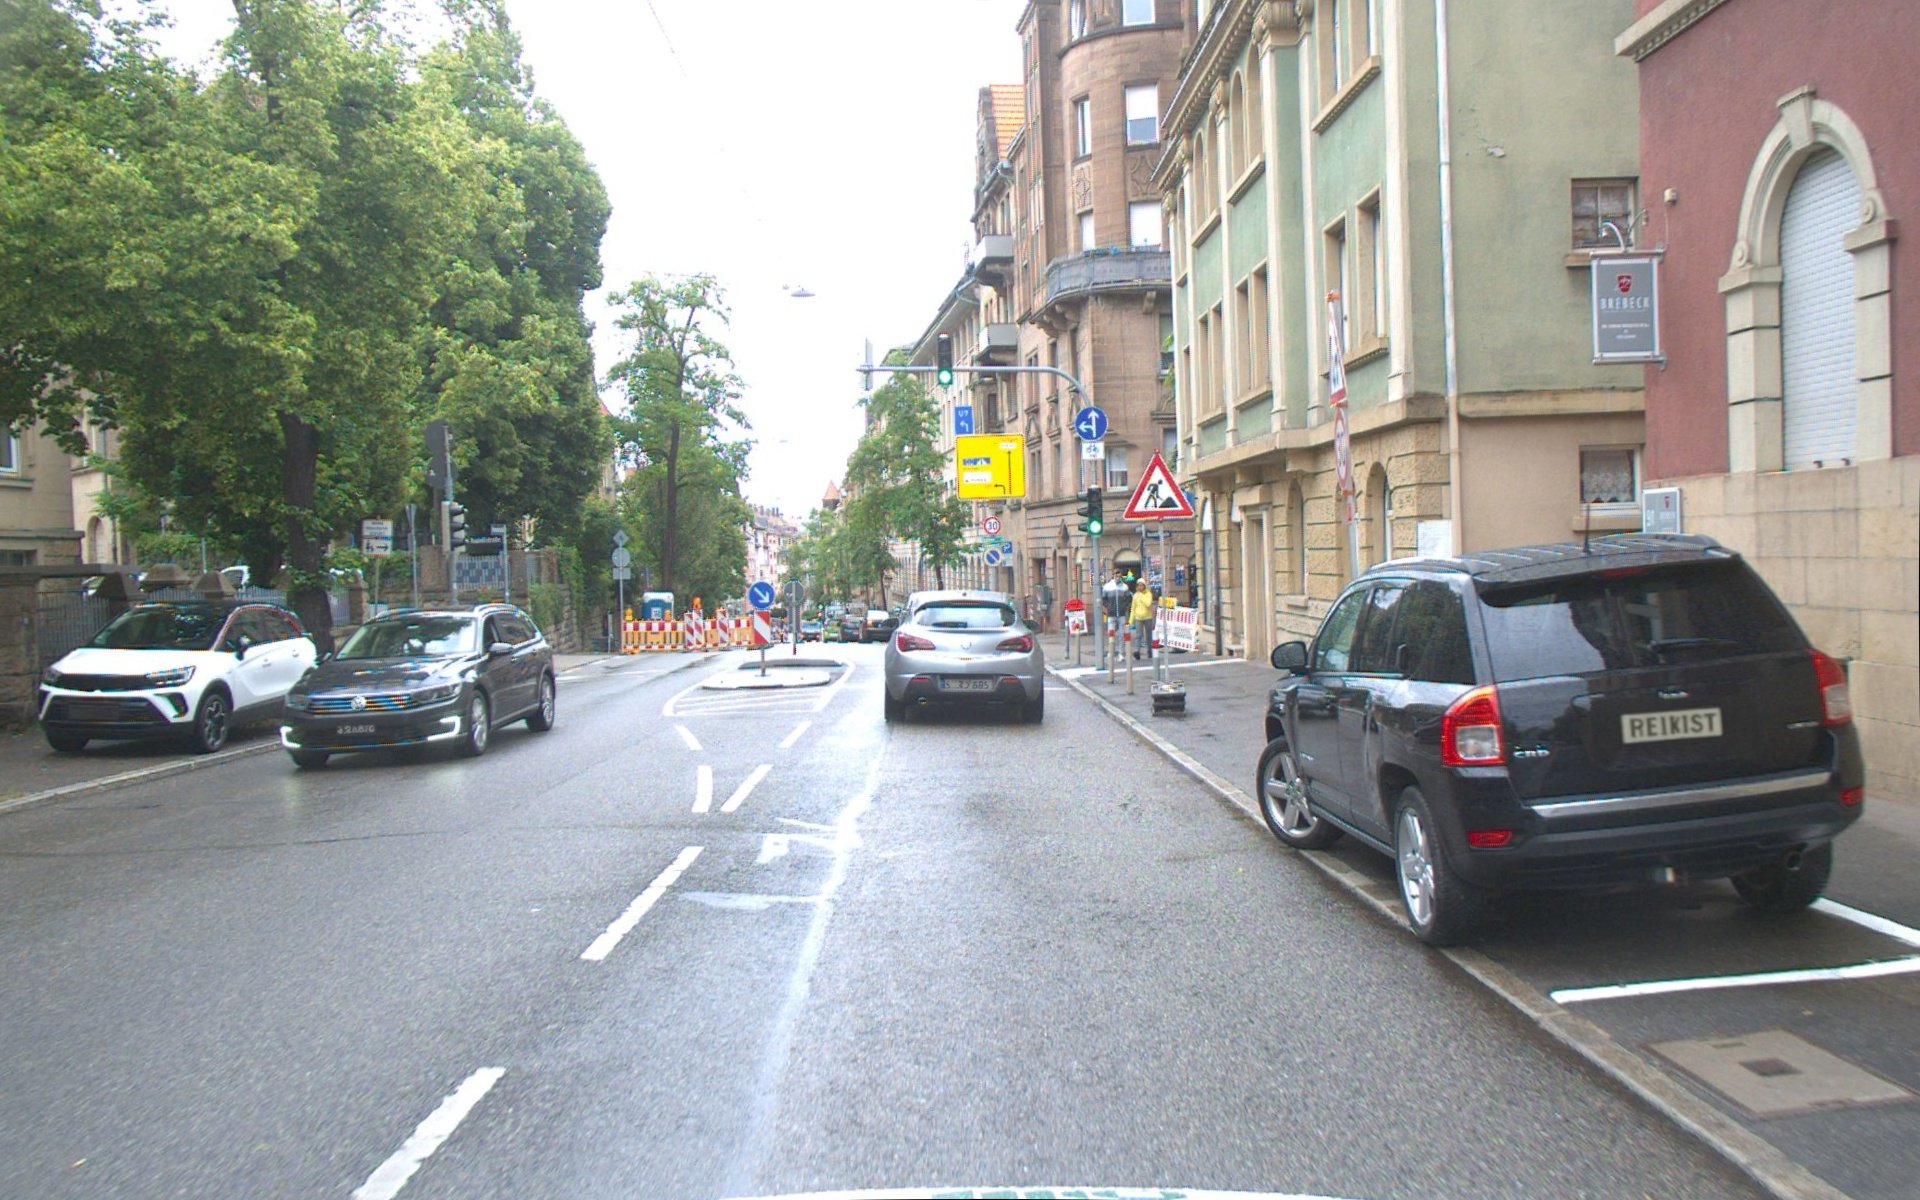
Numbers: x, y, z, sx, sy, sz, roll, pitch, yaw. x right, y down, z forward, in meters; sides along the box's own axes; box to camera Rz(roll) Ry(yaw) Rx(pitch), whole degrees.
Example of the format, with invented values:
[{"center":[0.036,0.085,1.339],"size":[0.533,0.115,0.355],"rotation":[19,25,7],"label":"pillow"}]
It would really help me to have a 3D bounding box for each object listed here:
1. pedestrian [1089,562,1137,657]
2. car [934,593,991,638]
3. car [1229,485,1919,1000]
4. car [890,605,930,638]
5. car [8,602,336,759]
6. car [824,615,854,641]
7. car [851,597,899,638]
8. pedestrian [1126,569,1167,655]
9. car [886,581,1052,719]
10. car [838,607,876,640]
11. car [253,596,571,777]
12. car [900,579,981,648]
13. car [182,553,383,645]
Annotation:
[{"center":[3.006,0.176,32.457],"size":[0.703,1.805,0.666],"rotation":[-3,0,17],"label":"pedestrian"},{"center":[0.062,0.627,63.263],"size":[1.626,1.570,3.659],"rotation":[-4,-1,-8],"label":"car"},{"center":[2.688,0.515,8.092],"size":[1.839,1.658,4.696],"rotation":[-4,-1,0],"label":"car"},{"center":[-2.601,1.105,84.794],"size":[1.608,1.546,3.177],"rotation":[-4,-1,-8],"label":"car"},{"center":[-8.833,0.850,18.986],"size":[1.706,1.586,4.301],"rotation":[0,-1,0],"label":"car"},{"center":[-7.754,1.798,105.395],"size":[1.626,1.570,3.659],"rotation":[-4,-1,-8],"label":"car"},{"center":[-3.616,0.766,69.915],"size":[1.626,1.570,3.659],"rotation":[-4,-1,-8],"label":"car"},{"center":[3.646,0.232,32.317],"size":[0.584,1.612,0.666],"rotation":[-3,1,17],"label":"pedestrian"},{"center":[0.106,0.567,19.750],"size":[1.774,1.475,3.869],"rotation":[0,-1,0],"label":"car"},{"center":[-5.315,1.227,85.171],"size":[1.626,1.570,3.659],"rotation":[-4,-1,-8],"label":"car"},{"center":[-5.504,0.785,17.281],"size":[1.778,1.544,4.547],"rotation":[-3,0,-1],"label":"car"},{"center":[-0.502,0.321,38.708],"size":[1.737,1.531,3.866],"rotation":[0,-1,-3],"label":"car"},{"center":[-18.116,-0.058,44.288],"size":[4.564,2.083,2.027],"rotation":[4,2,14],"label":"car"}]
